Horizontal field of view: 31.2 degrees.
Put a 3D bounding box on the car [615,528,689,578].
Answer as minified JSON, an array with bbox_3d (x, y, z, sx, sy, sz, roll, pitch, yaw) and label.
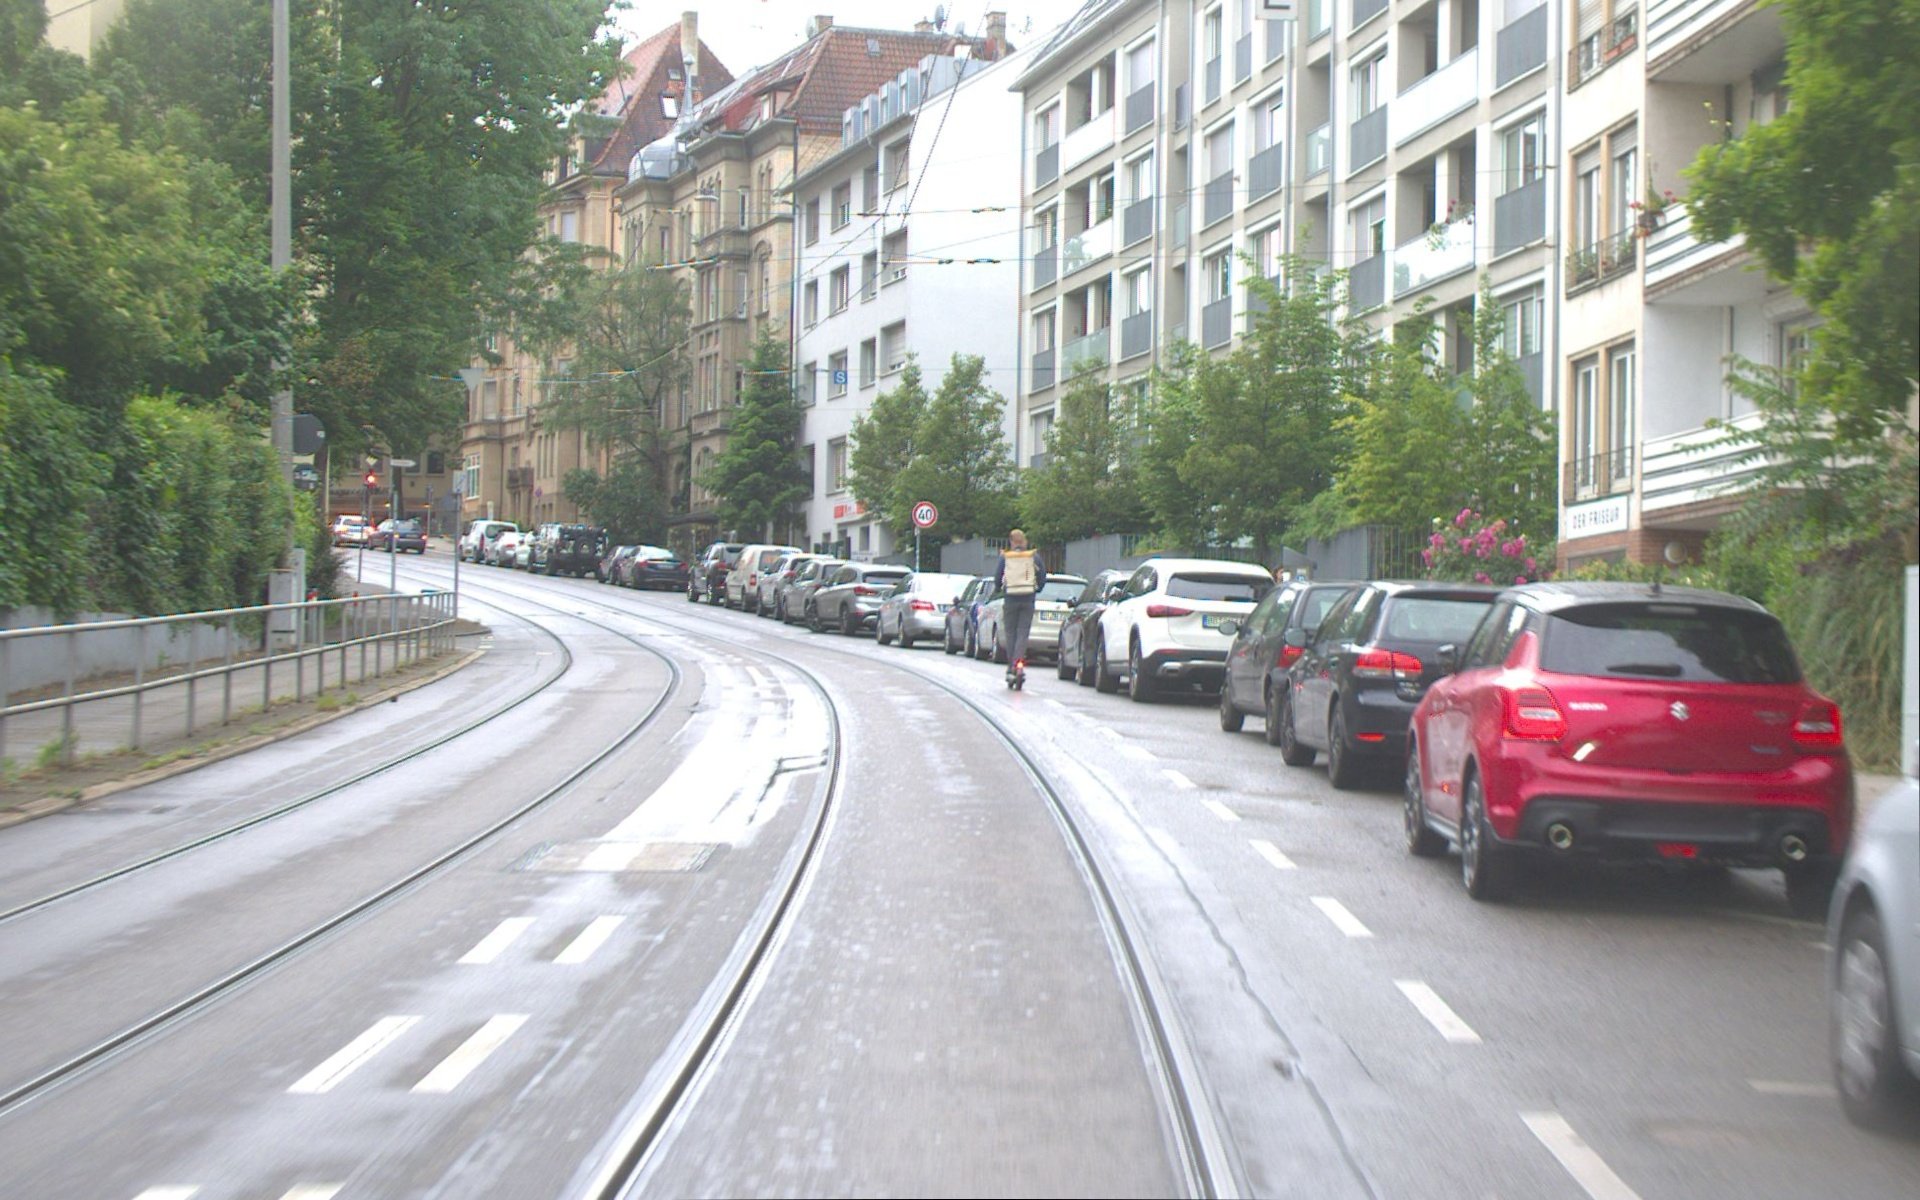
[{"bbox_3d":[-10.093,-1.552,112.553,1.766,1.512,4.141,2,1,-14],"label":"car"}]

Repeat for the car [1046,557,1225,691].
[{"bbox_3d":[2.226,0.266,44.831,1.701,1.507,4.572,4,1,-4],"label":"car"}]

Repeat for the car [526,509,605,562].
[{"bbox_3d":[-14.511,-2.376,126.348,2.027,1.818,4.369,2,1,-18],"label":"car"}]

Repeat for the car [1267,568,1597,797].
[{"bbox_3d":[3.332,0.532,24.970,1.683,1.432,4.064,2,1,-2],"label":"car"}]

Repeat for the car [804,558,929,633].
[{"bbox_3d":[-2.130,-0.117,76.976,1.766,1.610,4.249,0,1,-16],"label":"car"}]

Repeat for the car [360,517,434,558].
[{"bbox_3d":[-25.433,-2.833,155.337,2.027,1.728,4.140,2,1,-28],"label":"car"}]

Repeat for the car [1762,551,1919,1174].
[{"bbox_3d":[3.357,0.680,8.260,1.765,1.598,4.289,0,1,-1],"label":"car"}]

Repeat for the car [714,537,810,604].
[{"bbox_3d":[-5.461,-0.822,94.248,1.766,1.678,4.250,2,1,-15],"label":"car"}]

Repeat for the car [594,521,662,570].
[{"bbox_3d":[-11.333,-1.867,117.191,1.649,1.530,3.890,-2,2,-15],"label":"car"}]

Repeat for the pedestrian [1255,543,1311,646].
[{"bbox_3d":[4.920,-0.087,52.355,0.569,1.537,0.930,-2,1,-12],"label":"pedestrian"}]

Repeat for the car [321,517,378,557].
[{"bbox_3d":[-28.527,-2.947,160.534,1.856,1.728,4.141,2,1,-20],"label":"car"}]

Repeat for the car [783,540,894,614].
[{"bbox_3d":[-2.955,-0.577,82.833,1.766,1.610,4.250,2,1,-14],"label":"car"}]

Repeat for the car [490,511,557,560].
[{"bbox_3d":[-17.416,-2.585,137.097,2.027,1.818,4.141,2,1,-15],"label":"car"}]

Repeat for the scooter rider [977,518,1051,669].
[{"bbox_3d":[0.624,-0.081,40.089,0.623,1.700,0.844,3,1,-9],"label":"scooter rider"}]

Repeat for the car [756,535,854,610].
[{"bbox_3d":[-4.025,-0.726,88.641,1.766,1.781,4.250,2,1,-12],"label":"car"}]

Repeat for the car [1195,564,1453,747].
[{"bbox_3d":[3.185,0.441,30.806,1.556,1.432,4.304,2,1,-4],"label":"car"}]

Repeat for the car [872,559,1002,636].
[{"bbox_3d":[-0.494,-0.073,67.319,1.761,1.430,4.640,0,1,-10],"label":"car"}]

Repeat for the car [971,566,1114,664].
[{"bbox_3d":[1.285,0.215,55.538,1.661,1.466,4.509,2,0,-6],"label":"car"}]

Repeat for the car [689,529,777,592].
[{"bbox_3d":[-6.550,-1.152,98.965,1.766,1.678,4.250,2,1,-14],"label":"car"}]

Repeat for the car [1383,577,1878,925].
[{"bbox_3d":[3.186,0.652,17.049,1.722,1.432,3.841,2,1,1],"label":"car"}]

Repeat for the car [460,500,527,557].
[{"bbox_3d":[-19.306,-2.954,142.083,2.027,2.210,4.141,2,1,-17],"label":"car"}]

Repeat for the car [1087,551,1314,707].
[{"bbox_3d":[2.690,0.289,39.394,1.837,1.567,4.249,3,1,-6],"label":"car"}]

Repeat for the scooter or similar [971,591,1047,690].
[{"bbox_3d":[0.562,0.460,40.139,0.513,1.046,2.009,3,1,-9],"label":"scooter or similar"}]

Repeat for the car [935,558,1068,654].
[{"bbox_3d":[0.686,0.083,60.087,1.701,1.507,3.715,2,1,-8],"label":"car"}]
